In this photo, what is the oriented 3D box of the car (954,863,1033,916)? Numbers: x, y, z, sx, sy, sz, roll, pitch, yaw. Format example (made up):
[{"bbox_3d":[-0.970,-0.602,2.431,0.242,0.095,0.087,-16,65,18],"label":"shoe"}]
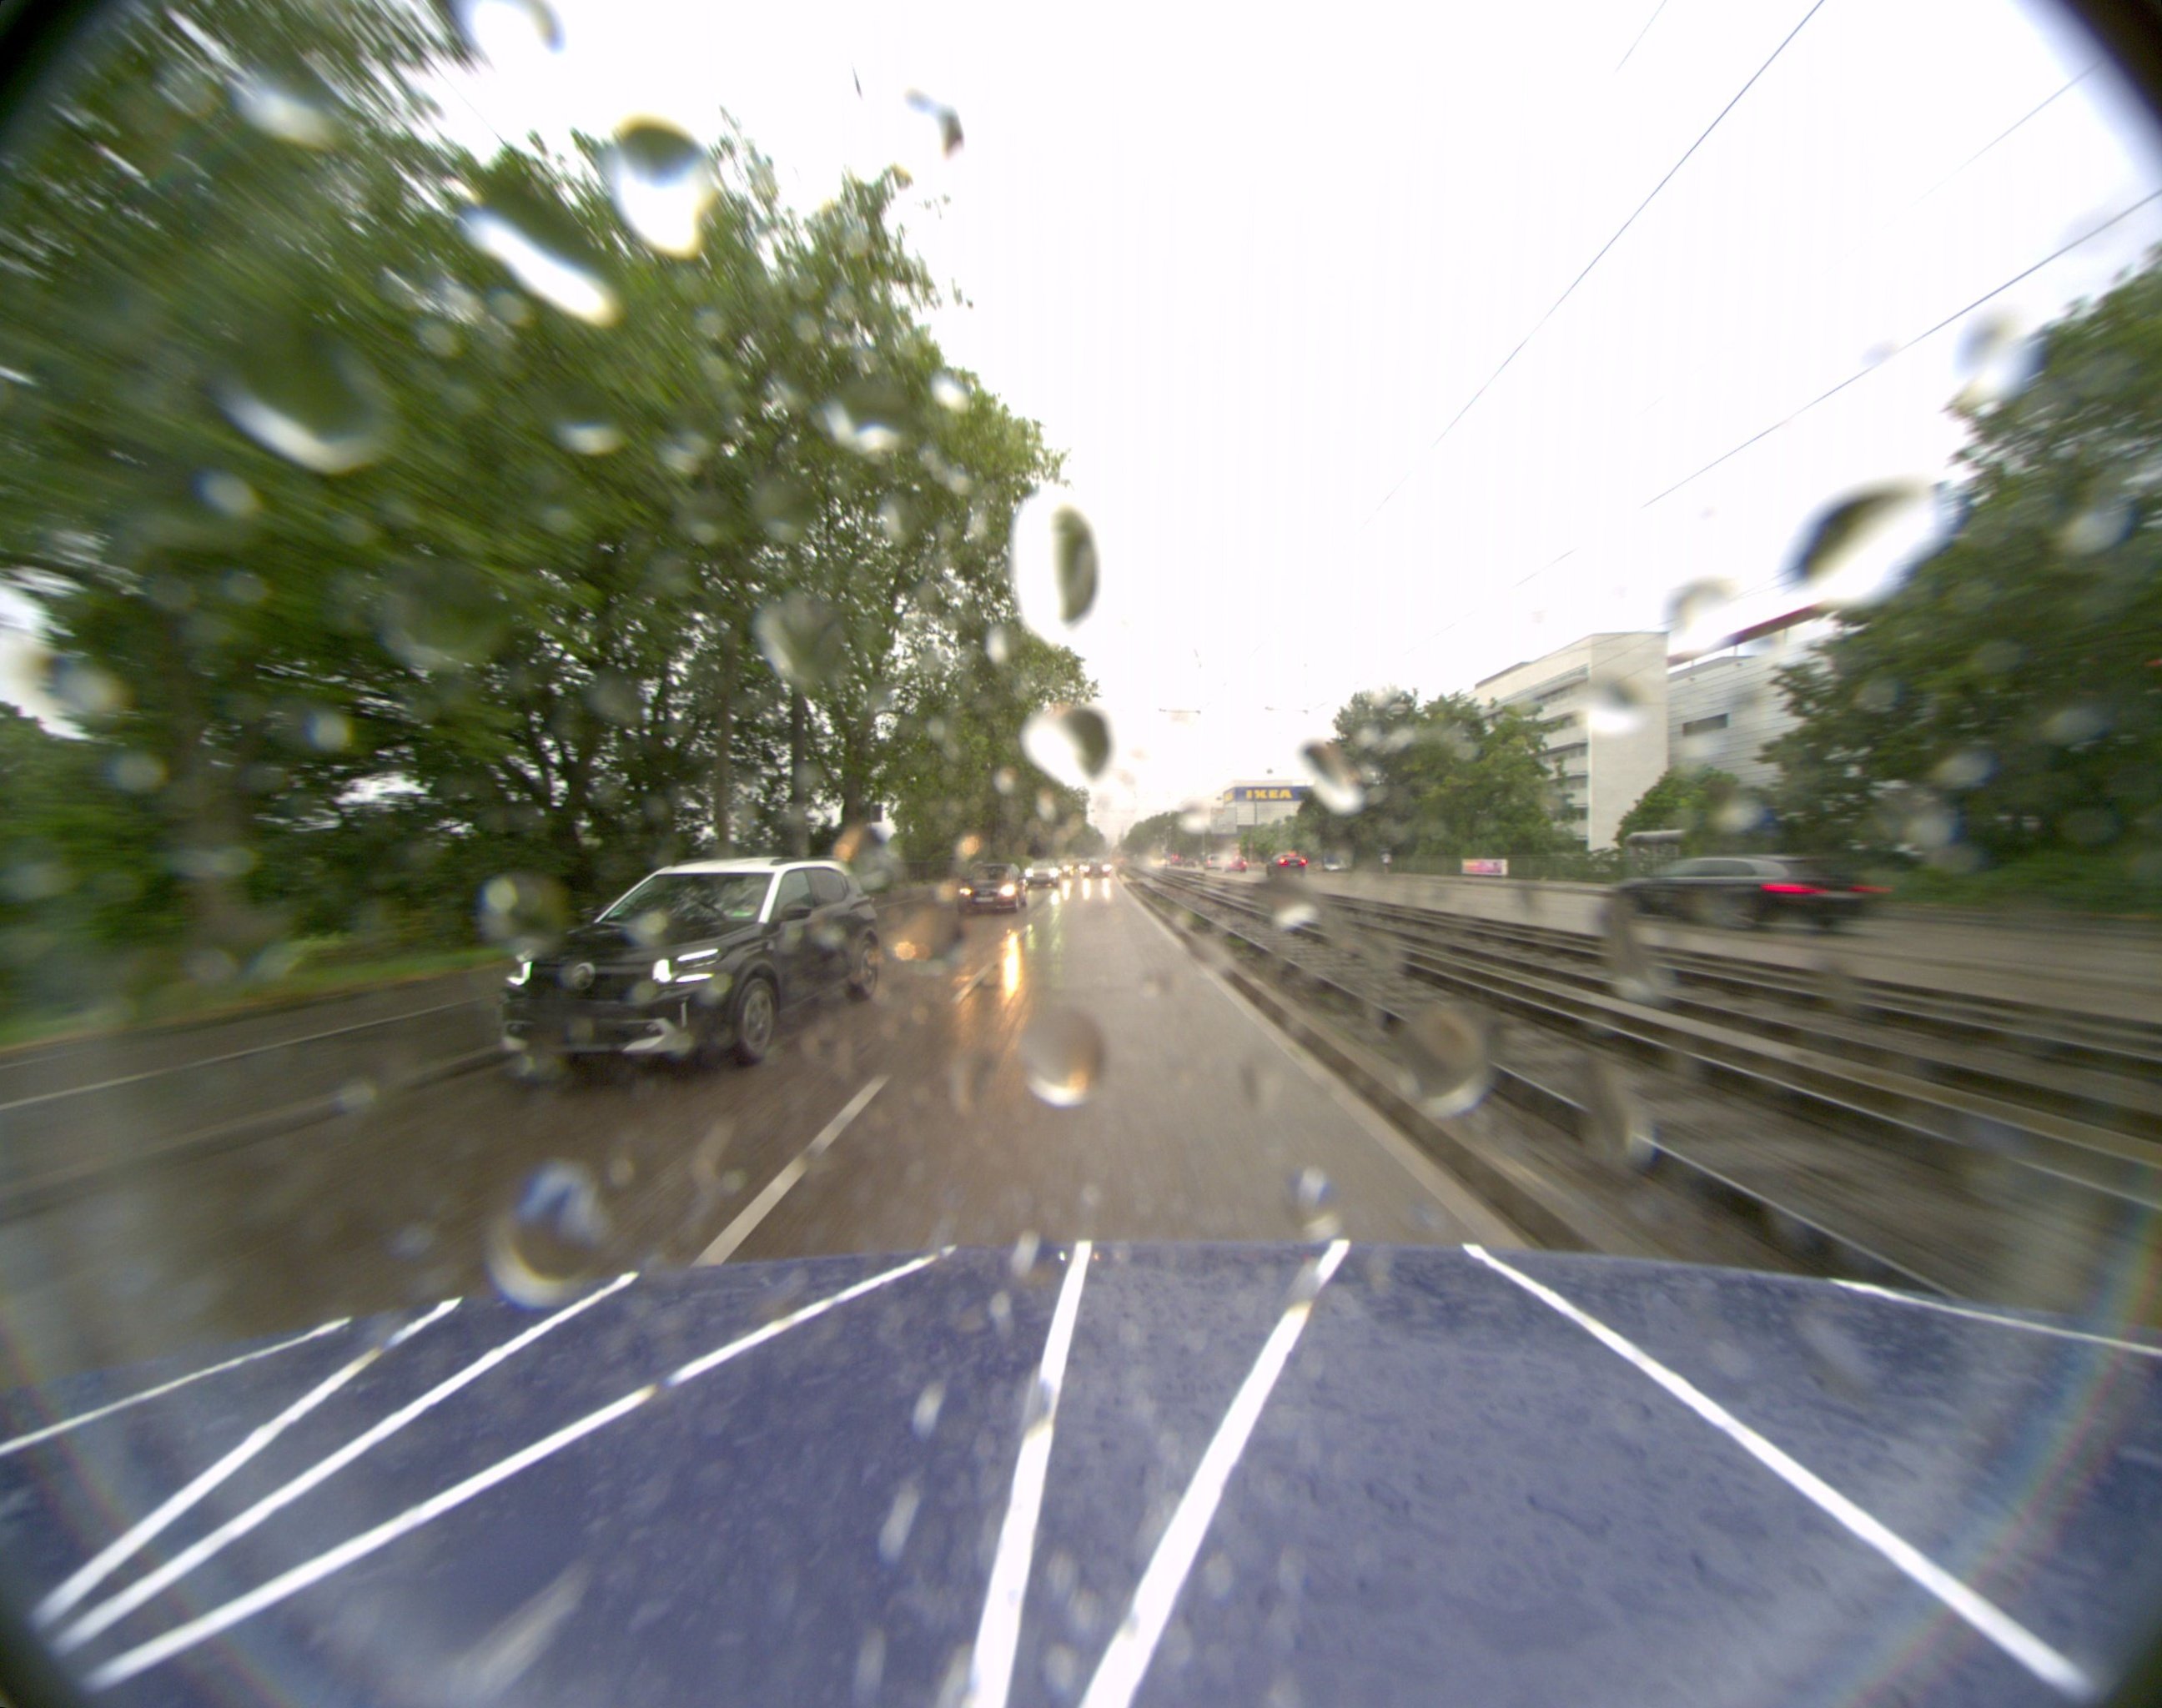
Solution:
[{"bbox_3d":[-2.519,0.989,22.801,1.784,1.419,4.001,-1,-1,2],"label":"car"}]

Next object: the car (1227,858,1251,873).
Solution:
[{"bbox_3d":[14.963,1.076,72.140,1.707,1.445,4.002,0,-1,5],"label":"car"}]

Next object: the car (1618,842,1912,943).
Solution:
[{"bbox_3d":[13.133,0.677,15.064,1.892,1.632,4.398,-2,-1,2],"label":"car"}]

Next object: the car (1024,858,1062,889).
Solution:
[{"bbox_3d":[-1.947,1.000,39.936,1.807,1.521,3.645,-2,-1,0],"label":"car"}]

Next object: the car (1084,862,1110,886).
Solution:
[{"bbox_3d":[1.224,1.430,55.887,1.815,1.692,4.001,-1,-1,2],"label":"car"}]

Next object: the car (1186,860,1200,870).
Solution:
[{"bbox_3d":[18.450,1.840,125.223,1.708,1.536,4.001,0,-1,2],"label":"car"}]

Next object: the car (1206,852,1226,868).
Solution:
[{"bbox_3d":[16.600,0.715,93.368,1.845,1.898,4.001,0,0,2],"label":"car"}]

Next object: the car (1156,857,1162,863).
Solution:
[{"bbox_3d":[20.782,1.537,201.702,1.569,1.525,4.002,0,-1,5],"label":"car"}]

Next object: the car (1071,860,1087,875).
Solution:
[{"bbox_3d":[-0.211,1.582,89.137,1.846,1.572,3.838,-2,-1,0],"label":"car"}]

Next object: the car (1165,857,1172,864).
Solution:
[{"bbox_3d":[20.535,1.492,178.617,1.569,1.536,4.002,-2,-1,4],"label":"car"}]

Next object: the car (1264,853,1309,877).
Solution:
[{"bbox_3d":[14.328,0.754,53.255,1.942,1.642,4.872,0,-1,2],"label":"car"}]

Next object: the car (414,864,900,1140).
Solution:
[{"bbox_3d":[-3.274,0.979,7.222,1.797,1.692,4.764,-2,-1,2],"label":"car"}]

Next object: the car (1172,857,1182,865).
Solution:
[{"bbox_3d":[18.417,1.332,145.224,1.648,1.536,4.001,0,-1,4],"label":"car"}]
